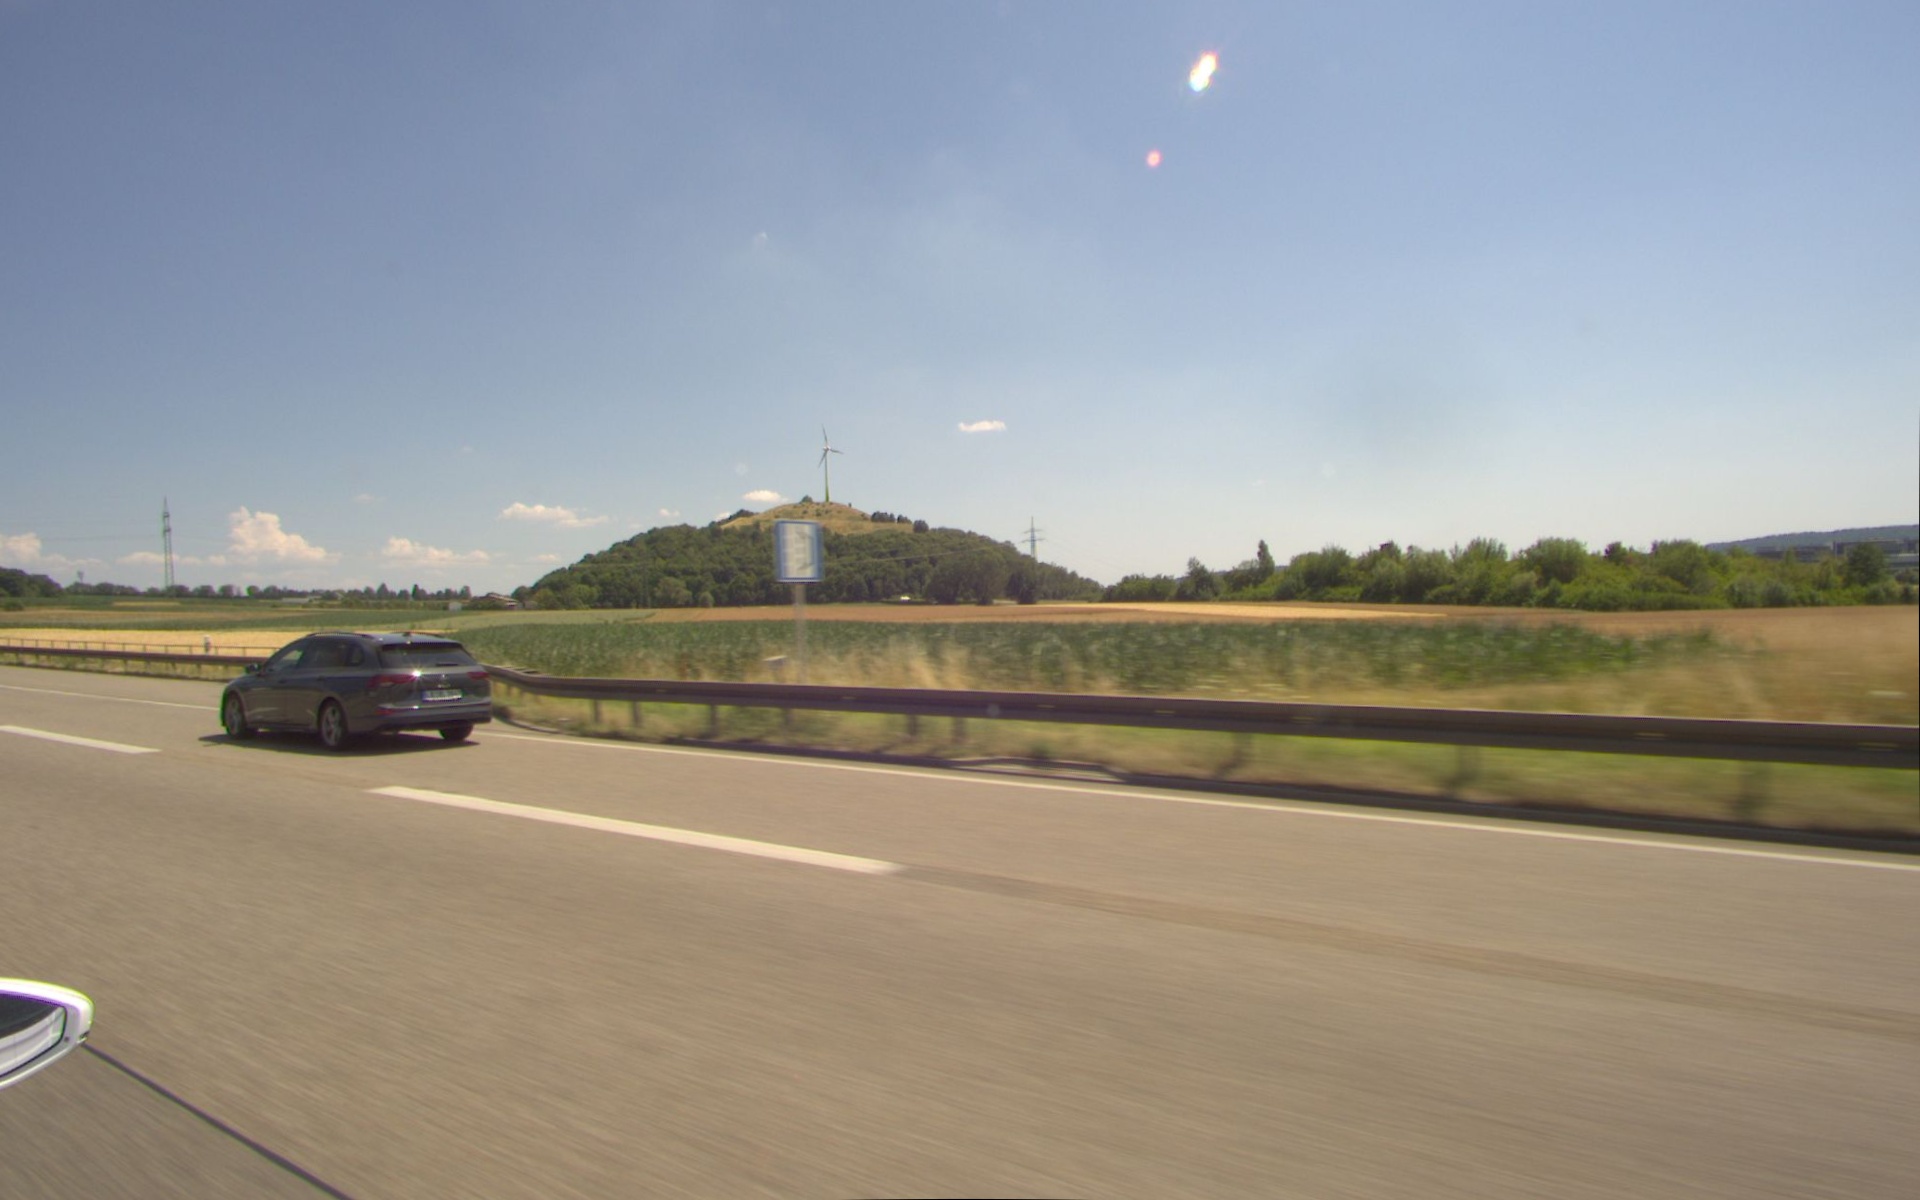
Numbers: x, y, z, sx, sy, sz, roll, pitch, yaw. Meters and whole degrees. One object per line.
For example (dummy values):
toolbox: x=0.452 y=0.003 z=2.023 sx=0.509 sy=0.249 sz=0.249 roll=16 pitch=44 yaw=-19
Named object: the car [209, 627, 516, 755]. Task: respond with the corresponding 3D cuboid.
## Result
car: x=-8.197 y=1.150 z=13.621 sx=4.472 sy=1.489 sz=1.758 roll=-2 pitch=-2 yaw=32
